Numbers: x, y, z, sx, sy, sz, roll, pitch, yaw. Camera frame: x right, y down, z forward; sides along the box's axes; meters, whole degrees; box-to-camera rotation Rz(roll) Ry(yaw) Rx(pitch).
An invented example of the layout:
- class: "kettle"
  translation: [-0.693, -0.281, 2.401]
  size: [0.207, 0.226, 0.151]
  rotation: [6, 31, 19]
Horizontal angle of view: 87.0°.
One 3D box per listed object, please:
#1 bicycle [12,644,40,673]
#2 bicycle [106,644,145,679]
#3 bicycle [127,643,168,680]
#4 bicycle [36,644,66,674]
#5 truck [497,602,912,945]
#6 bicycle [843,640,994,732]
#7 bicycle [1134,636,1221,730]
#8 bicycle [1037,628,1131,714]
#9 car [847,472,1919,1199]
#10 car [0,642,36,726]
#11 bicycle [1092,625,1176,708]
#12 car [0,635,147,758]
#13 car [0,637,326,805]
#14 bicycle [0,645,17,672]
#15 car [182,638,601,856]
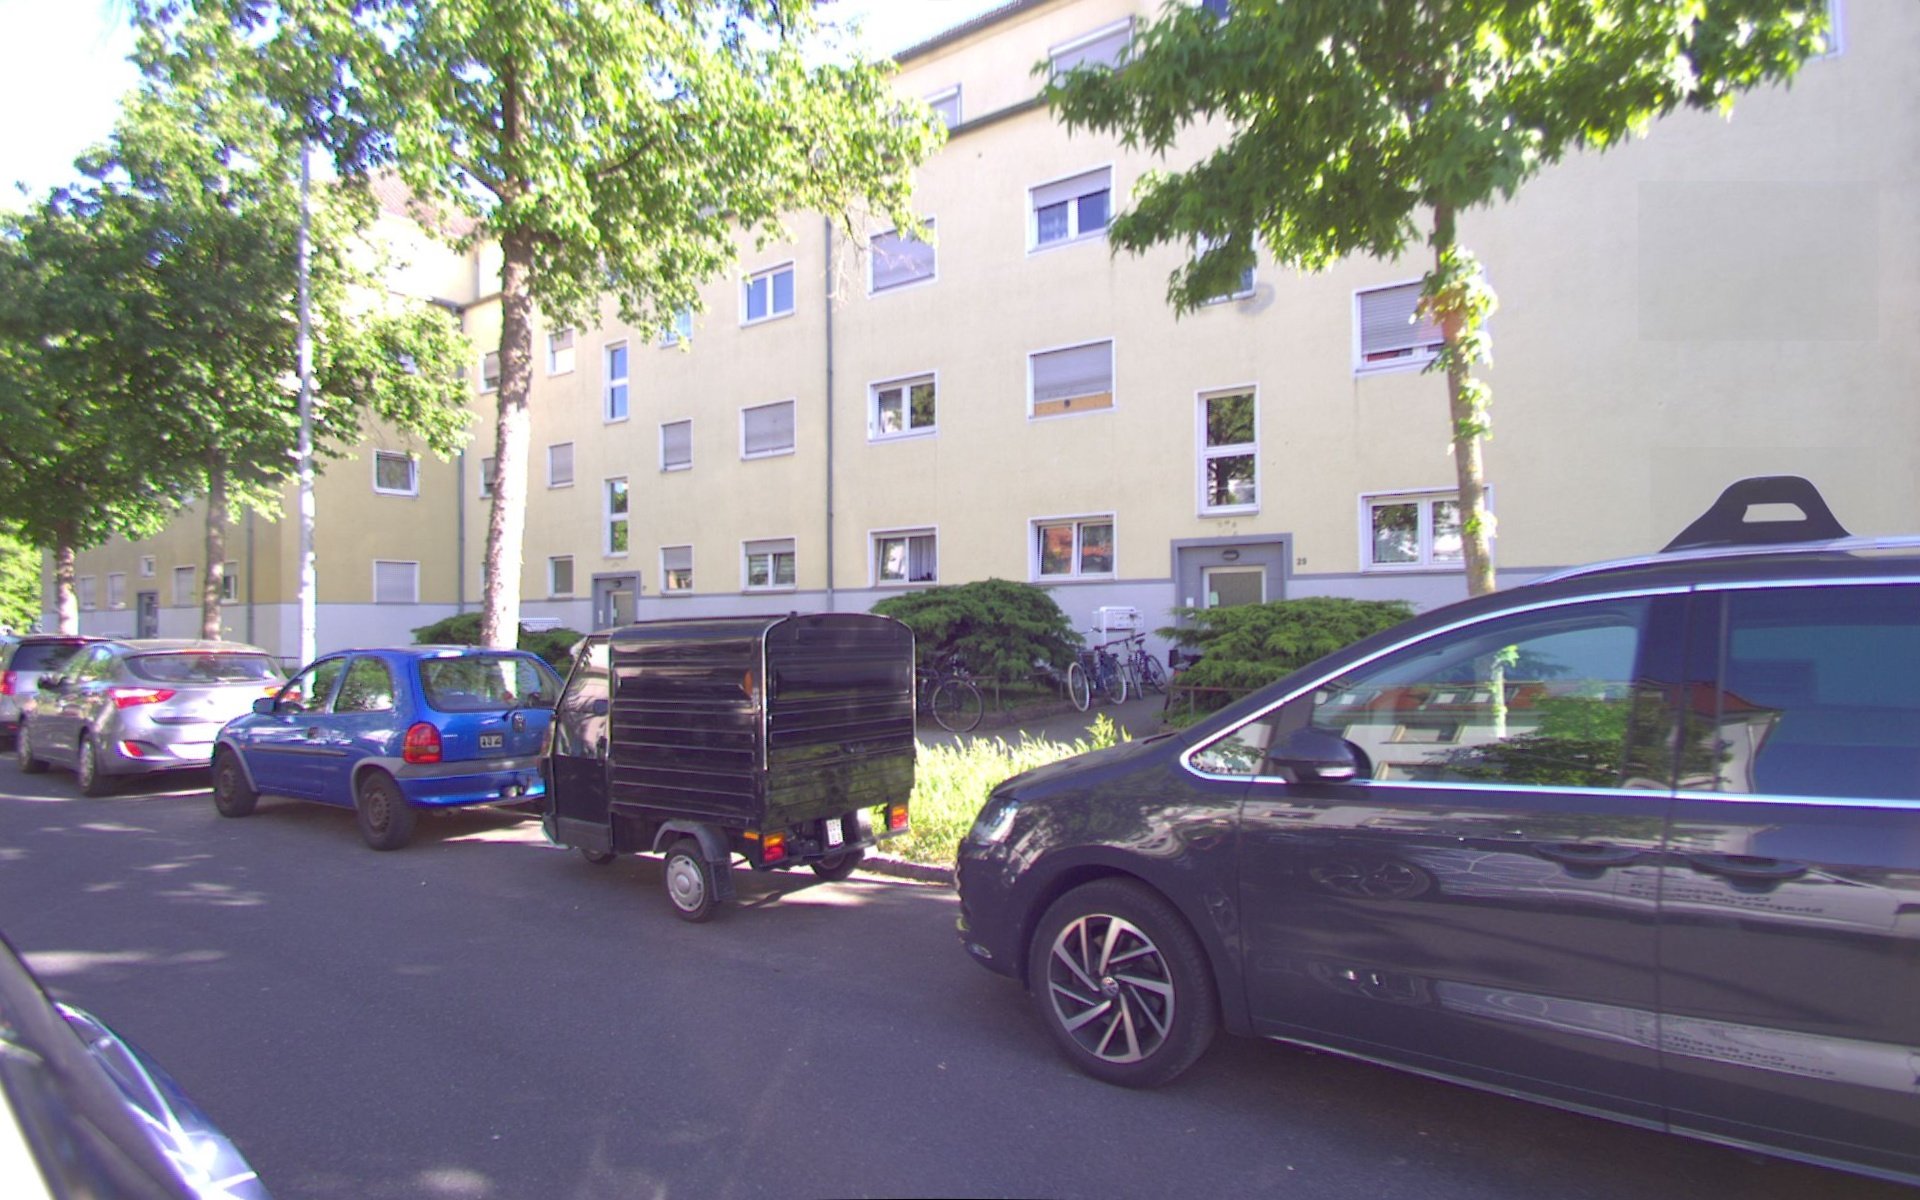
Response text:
- class: "bicycle"
  translation: [-33.738, 2.104, 36.553]
  size: [1.541, 1.008, 0.449]
  rotation: [-2, -2, 36]
- class: "bicycle"
  translation: [-25.520, 1.870, 30.940]
  size: [1.745, 1.034, 0.535]
  rotation: [-2, -2, 37]
- class: "bicycle"
  translation: [-23.949, 1.800, 29.823]
  size: [1.745, 1.034, 0.531]
  rotation: [-2, -2, 37]
- class: "bicycle"
  translation: [-31.693, 2.043, 35.275]
  size: [1.678, 1.008, 0.430]
  rotation: [-2, -2, 36]
- class: "truck"
  translation: [-1.552, 0.846, 5.882]
  size: [2.428, 1.589, 1.074]
  rotation: [-2, -2, 38]
- class: "bicycle"
  translation: [-0.518, 1.070, 12.747]
  size: [1.826, 1.089, 0.485]
  rotation: [-1, 1, 12]
- class: "bicycle"
  translation: [2.781, 1.012, 12.811]
  size: [0.485, 1.089, 1.825]
  rotation: [-2, -2, 32]
- class: "bicycle"
  translation: [1.840, 1.002, 14.769]
  size: [0.486, 1.089, 1.822]
  rotation: [0, 1, 38]
- class: "car"
  translation: [2.136, 0.645, 3.101]
  size: [4.965, 1.693, 1.833]
  rotation: [-2, -5, 35]
- class: "car"
  translation: [-18.072, 1.438, 17.801]
  size: [4.664, 1.379, 1.730]
  rotation: [-2, -3, 36]
- class: "bicycle"
  translation: [2.760, 1.009, 15.883]
  size: [0.486, 1.154, 1.822]
  rotation: [0, 1, 38]
- class: "car"
  translation: [-13.259, 1.283, 14.349]
  size: [4.260, 1.527, 1.605]
  rotation: [-2, -4, 36]
- class: "car"
  translation: [-8.816, 1.148, 10.929]
  size: [4.680, 1.455, 1.775]
  rotation: [-2, -4, 37]
- class: "bicycle"
  translation: [-36.409, 2.210, 38.522]
  size: [1.541, 1.008, 0.472]
  rotation: [-2, -2, 36]
- class: "car"
  translation: [-4.752, 1.030, 8.309]
  size: [3.717, 1.406, 1.508]
  rotation: [-2, -2, 34]
